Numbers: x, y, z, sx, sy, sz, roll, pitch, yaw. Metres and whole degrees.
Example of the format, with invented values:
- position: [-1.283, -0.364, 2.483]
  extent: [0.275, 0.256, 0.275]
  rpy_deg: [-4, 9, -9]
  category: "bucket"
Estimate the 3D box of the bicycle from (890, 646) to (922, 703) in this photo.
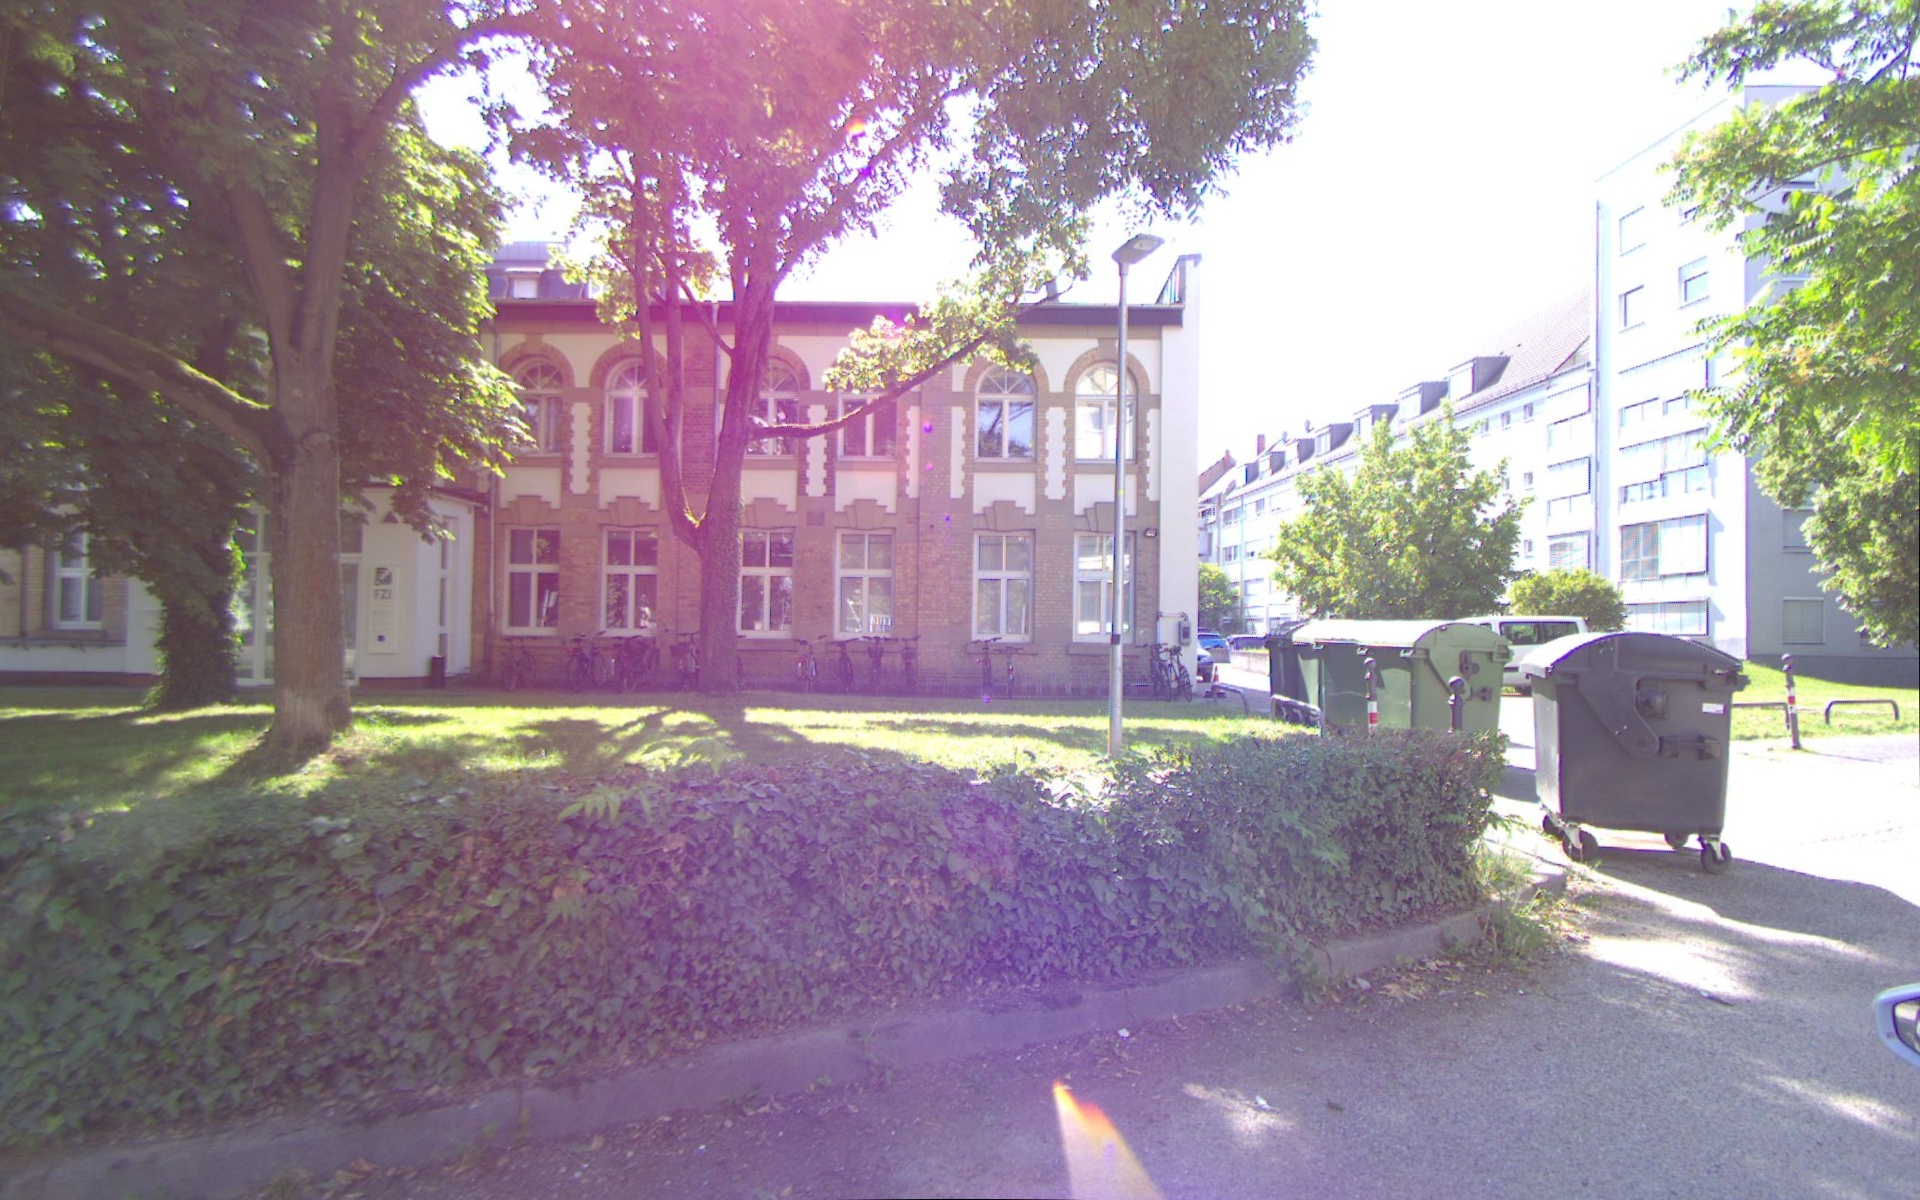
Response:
- position: [-1.020, 1.397, 19.231]
  extent: [0.437, 1.005, 1.542]
  rpy_deg: [0, -1, 4]
  category: "bicycle"

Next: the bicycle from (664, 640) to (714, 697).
- position: [-5.158, 1.290, 19.163]
  extent: [0.437, 1.005, 1.542]
  rpy_deg: [0, -1, 4]
  category: "bicycle"

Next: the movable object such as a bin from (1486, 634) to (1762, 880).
- position: [4.321, 0.943, 6.720]
  extent: [1.223, 1.415, 1.404]
  rpy_deg: [0, -2, 19]
  category: "movable object such as a bin"

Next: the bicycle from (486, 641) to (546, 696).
- position: [-8.504, 1.292, 19.285]
  extent: [0.437, 1.005, 1.541]
  rpy_deg: [2, -2, 0]
  category: "bicycle"

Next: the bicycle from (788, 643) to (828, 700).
- position: [-2.890, 1.342, 19.184]
  extent: [0.437, 1.005, 1.542]
  rpy_deg: [0, -1, 4]
  category: "bicycle"

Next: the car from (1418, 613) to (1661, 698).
- position: [14.437, 1.364, 25.247]
  extent: [4.939, 1.958, 2.001]
  rpy_deg: [1, -1, 3]
  category: "car"

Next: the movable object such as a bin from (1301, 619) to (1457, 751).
- position: [4.855, 0.956, 11.723]
  extent: [1.226, 1.450, 1.221]
  rpy_deg: [1, -2, -10]
  category: "movable object such as a bin"

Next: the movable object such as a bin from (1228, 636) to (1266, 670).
- position: [11.713, 2.174, 41.000]
  extent: [1.226, 1.336, 1.143]
  rpy_deg: [-2, -3, 3]
  category: "movable object such as a bin"

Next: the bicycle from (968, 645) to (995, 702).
- position: [0.424, 1.378, 19.162]
  extent: [0.437, 1.005, 1.667]
  rpy_deg: [0, -1, 4]
  category: "bicycle"

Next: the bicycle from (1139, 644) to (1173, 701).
- position: [3.748, 1.367, 19.261]
  extent: [0.437, 1.005, 1.631]
  rpy_deg: [0, -1, 4]
  category: "bicycle"

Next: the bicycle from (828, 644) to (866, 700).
- position: [-2.153, 1.359, 19.253]
  extent: [0.437, 1.005, 1.542]
  rpy_deg: [0, -1, 4]
  category: "bicycle"

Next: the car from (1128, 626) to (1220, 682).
- position: [6.254, 1.627, 29.760]
  extent: [1.806, 1.460, 4.432]
  rpy_deg: [2, -3, 1]
  category: "car"

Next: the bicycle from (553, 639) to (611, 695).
- position: [-7.213, 1.262, 19.207]
  extent: [0.437, 1.005, 1.542]
  rpy_deg: [0, -1, 4]
  category: "bicycle"

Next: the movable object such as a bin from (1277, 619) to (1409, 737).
- position: [4.955, 0.986, 13.109]
  extent: [1.223, 1.450, 1.366]
  rpy_deg: [1, -2, 1]
  category: "movable object such as a bin"

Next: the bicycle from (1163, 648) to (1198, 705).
- position: [4.227, 1.443, 19.304]
  extent: [0.437, 1.005, 1.542]
  rpy_deg: [0, -1, 4]
  category: "bicycle"

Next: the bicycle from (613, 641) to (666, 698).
- position: [-6.122, 1.308, 19.255]
  extent: [0.437, 1.005, 1.542]
  rpy_deg: [0, -1, 4]
  category: "bicycle"

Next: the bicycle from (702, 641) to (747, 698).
- position: [-4.492, 1.313, 19.251]
  extent: [0.437, 1.005, 1.541]
  rpy_deg: [0, -1, 2]
  category: "bicycle"

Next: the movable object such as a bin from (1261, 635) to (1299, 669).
- position: [13.029, 2.092, 40.914]
  extent: [1.226, 1.358, 1.143]
  rpy_deg: [0, -2, 4]
  category: "movable object such as a bin"

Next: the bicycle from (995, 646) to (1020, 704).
- position: [0.918, 1.408, 19.173]
  extent: [0.437, 1.005, 1.686]
  rpy_deg: [0, -1, 4]
  category: "bicycle"

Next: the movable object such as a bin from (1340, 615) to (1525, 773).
- position: [4.795, 0.927, 10.316]
  extent: [1.224, 1.501, 1.338]
  rpy_deg: [1, -2, -4]
  category: "movable object such as a bin"

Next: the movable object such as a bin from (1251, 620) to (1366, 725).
- position: [5.035, 1.028, 14.619]
  extent: [1.223, 1.450, 1.350]
  rpy_deg: [1, -2, 1]
  category: "movable object such as a bin"

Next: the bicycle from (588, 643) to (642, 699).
- position: [-6.596, 1.342, 19.260]
  extent: [0.367, 1.002, 1.601]
  rpy_deg: [0, -1, 4]
  category: "bicycle"

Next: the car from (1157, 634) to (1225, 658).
- position: [15.676, 3.080, 68.222]
  extent: [4.160, 1.552, 2.000]
  rpy_deg: [0, -1, -2]
  category: "car"

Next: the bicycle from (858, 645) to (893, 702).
- position: [-1.610, 1.382, 19.243]
  extent: [0.437, 1.005, 1.542]
  rpy_deg: [0, -1, 4]
  category: "bicycle"
